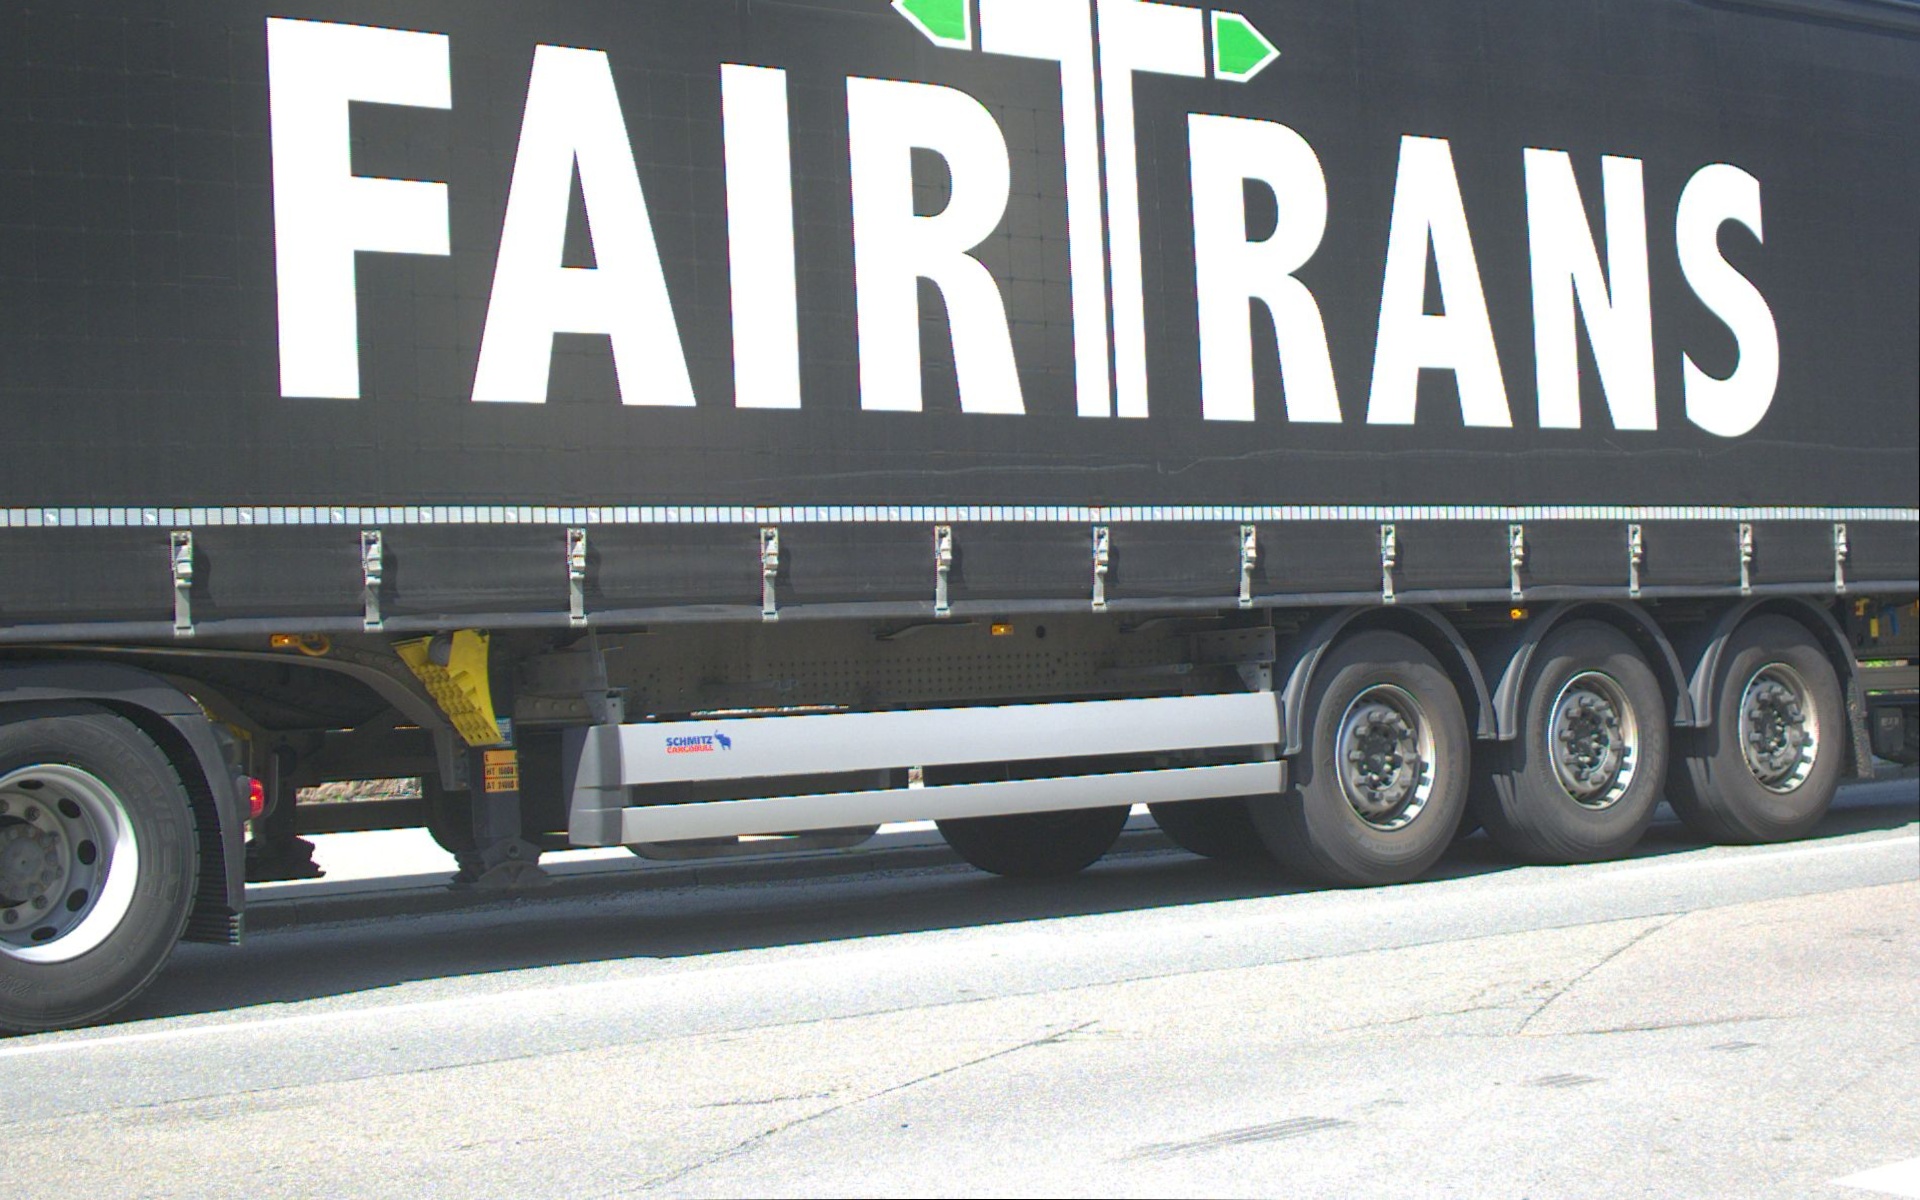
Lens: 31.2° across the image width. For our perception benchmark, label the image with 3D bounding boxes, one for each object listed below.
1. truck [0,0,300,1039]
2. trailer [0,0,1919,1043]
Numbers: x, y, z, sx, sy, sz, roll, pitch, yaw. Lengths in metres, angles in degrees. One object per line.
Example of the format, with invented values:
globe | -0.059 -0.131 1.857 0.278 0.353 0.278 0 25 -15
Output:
truck | -5.281 -0.659 9.786 5.915 4.057 2.838 -2 -1 -40
trailer | -0.126 -0.833 14.157 13.732 4.090 2.841 -2 -1 -40
